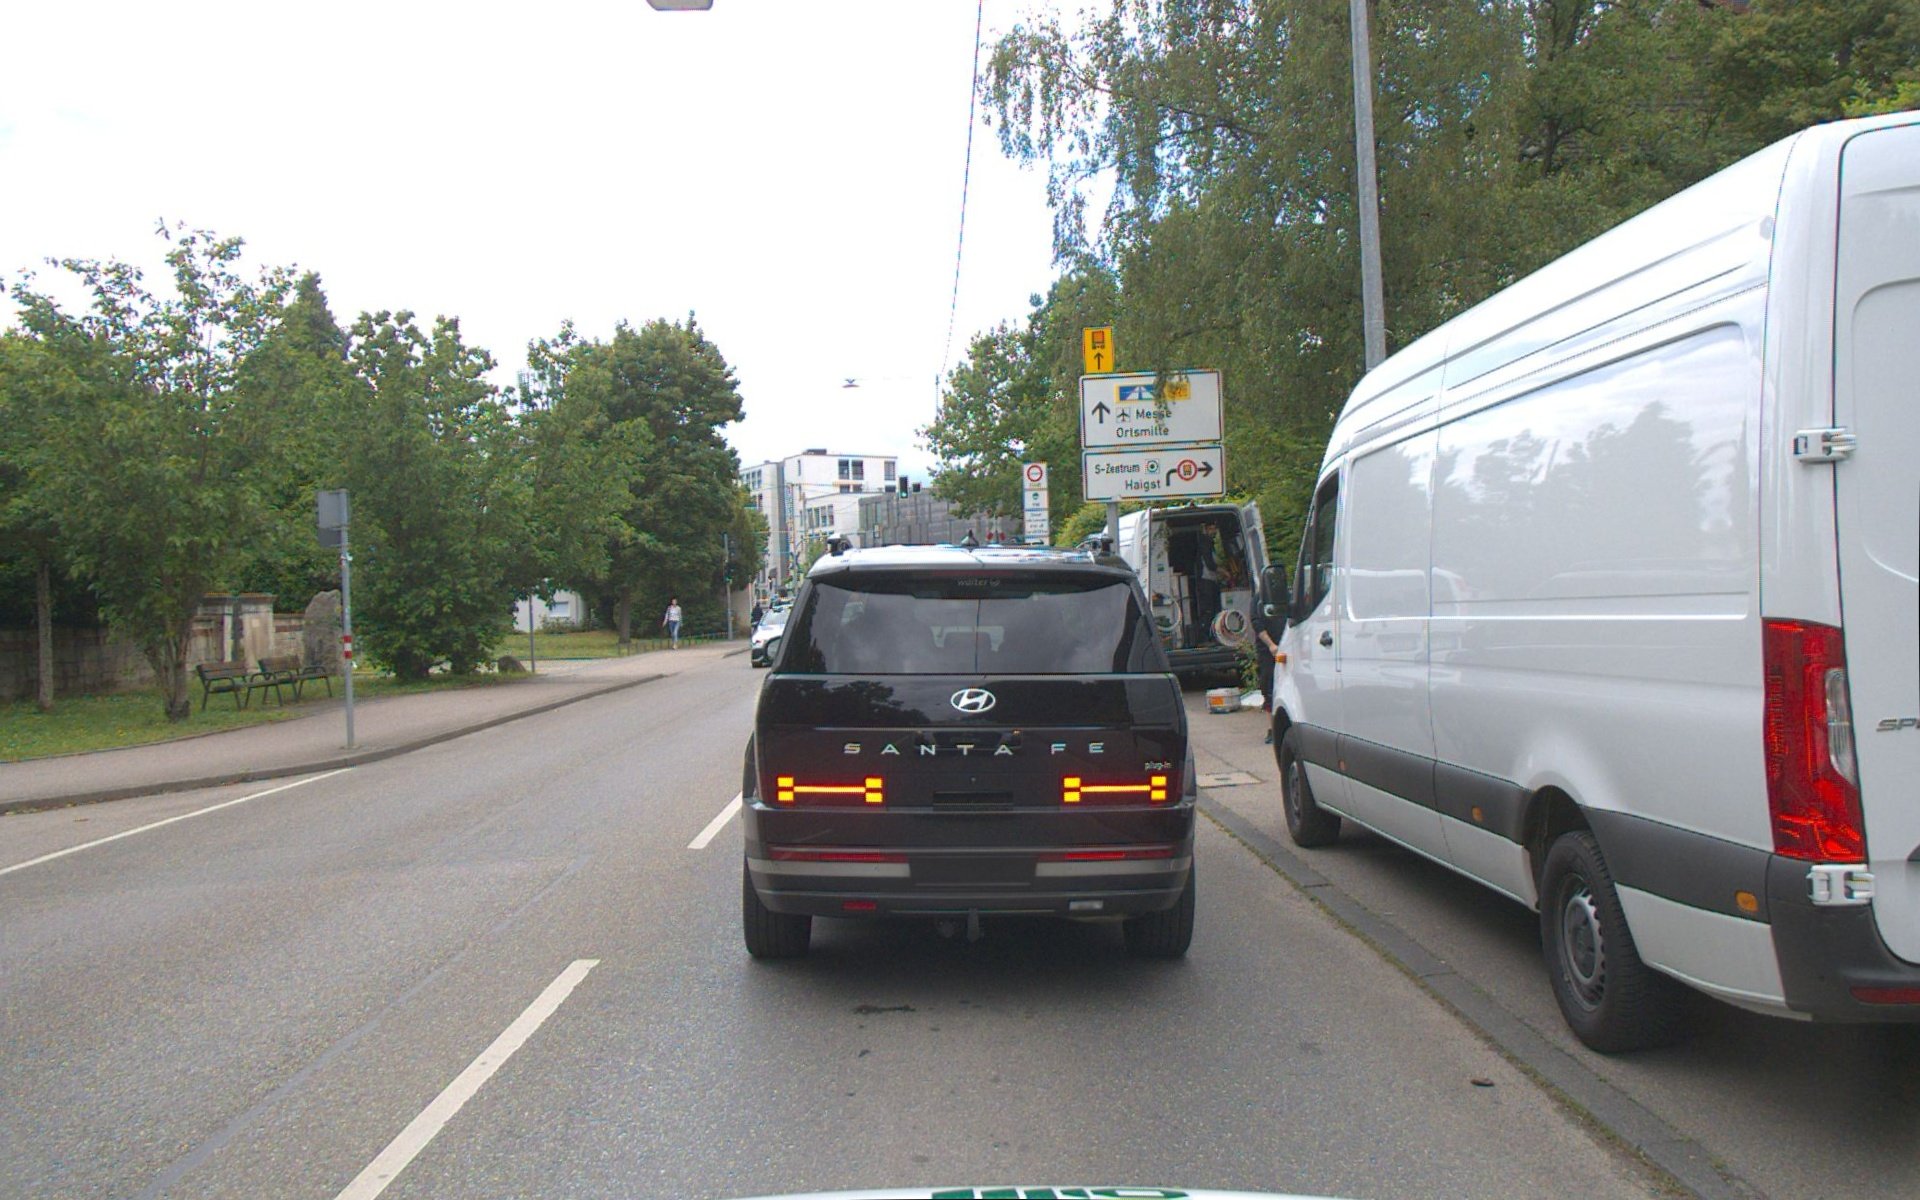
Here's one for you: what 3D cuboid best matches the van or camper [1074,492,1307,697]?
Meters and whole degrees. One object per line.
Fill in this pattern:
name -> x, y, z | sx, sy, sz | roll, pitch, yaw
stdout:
van or camper -> 3.294, -0.025, 25.327 | 2.294, 2.537, 6.600 | -5, -1, -2

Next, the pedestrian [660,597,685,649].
pedestrian -> -9.940, 0.778, 57.226 | 0.751, 1.779, 0.904 | 0, 0, -3

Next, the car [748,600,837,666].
car -> -4.076, 0.775, 40.760 | 1.721, 1.427, 4.413 | -4, 0, -1

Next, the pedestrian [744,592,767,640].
pedestrian -> -9.024, 0.702, 72.969 | 0.812, 2.049, 1.047 | 1, -1, 1

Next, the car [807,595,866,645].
car -> -4.114, 0.661, 55.607 | 1.667, 1.509, 3.999 | -4, 0, -1

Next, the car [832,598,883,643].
car -> -4.225, 0.825, 68.772 | 1.842, 1.673, 4.126 | -4, 0, -1

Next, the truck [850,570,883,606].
truck -> -10.577, -1.298, 186.252 | 3.048, 3.926, 9.607 | -2, 0, -7

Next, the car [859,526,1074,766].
car -> 0.030, 0.414, 16.503 | 1.858, 2.077, 3.993 | 1, 0, -1

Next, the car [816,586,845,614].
car -> -11.303, -0.010, 144.025 | 2.288, 2.356, 4.950 | -2, 0, -7

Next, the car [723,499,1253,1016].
car -> 0.075, 0.571, 7.875 | 1.858, 1.807, 3.993 | 1, 0, -1

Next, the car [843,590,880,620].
car -> -5.507, 0.279, 93.018 | 1.778, 1.443, 4.827 | -5, 0, -1

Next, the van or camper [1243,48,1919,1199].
van or camper -> 2.882, 0.033, 7.046 | 1.951, 2.670, 6.543 | -5, 0, -1

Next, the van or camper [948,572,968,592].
van or camper -> -0.182, -1.895, 172.515 | 1.760, 2.033, 3.820 | 1, 0, -4

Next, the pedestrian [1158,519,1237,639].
pedestrian -> 3.420, -0.302, 23.822 | 0.786, 1.672, 0.735 | -4, -1, 38

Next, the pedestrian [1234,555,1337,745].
pedestrian -> 3.070, 0.466, 15.670 | 0.773, 1.751, 0.752 | 1, -1, -4
